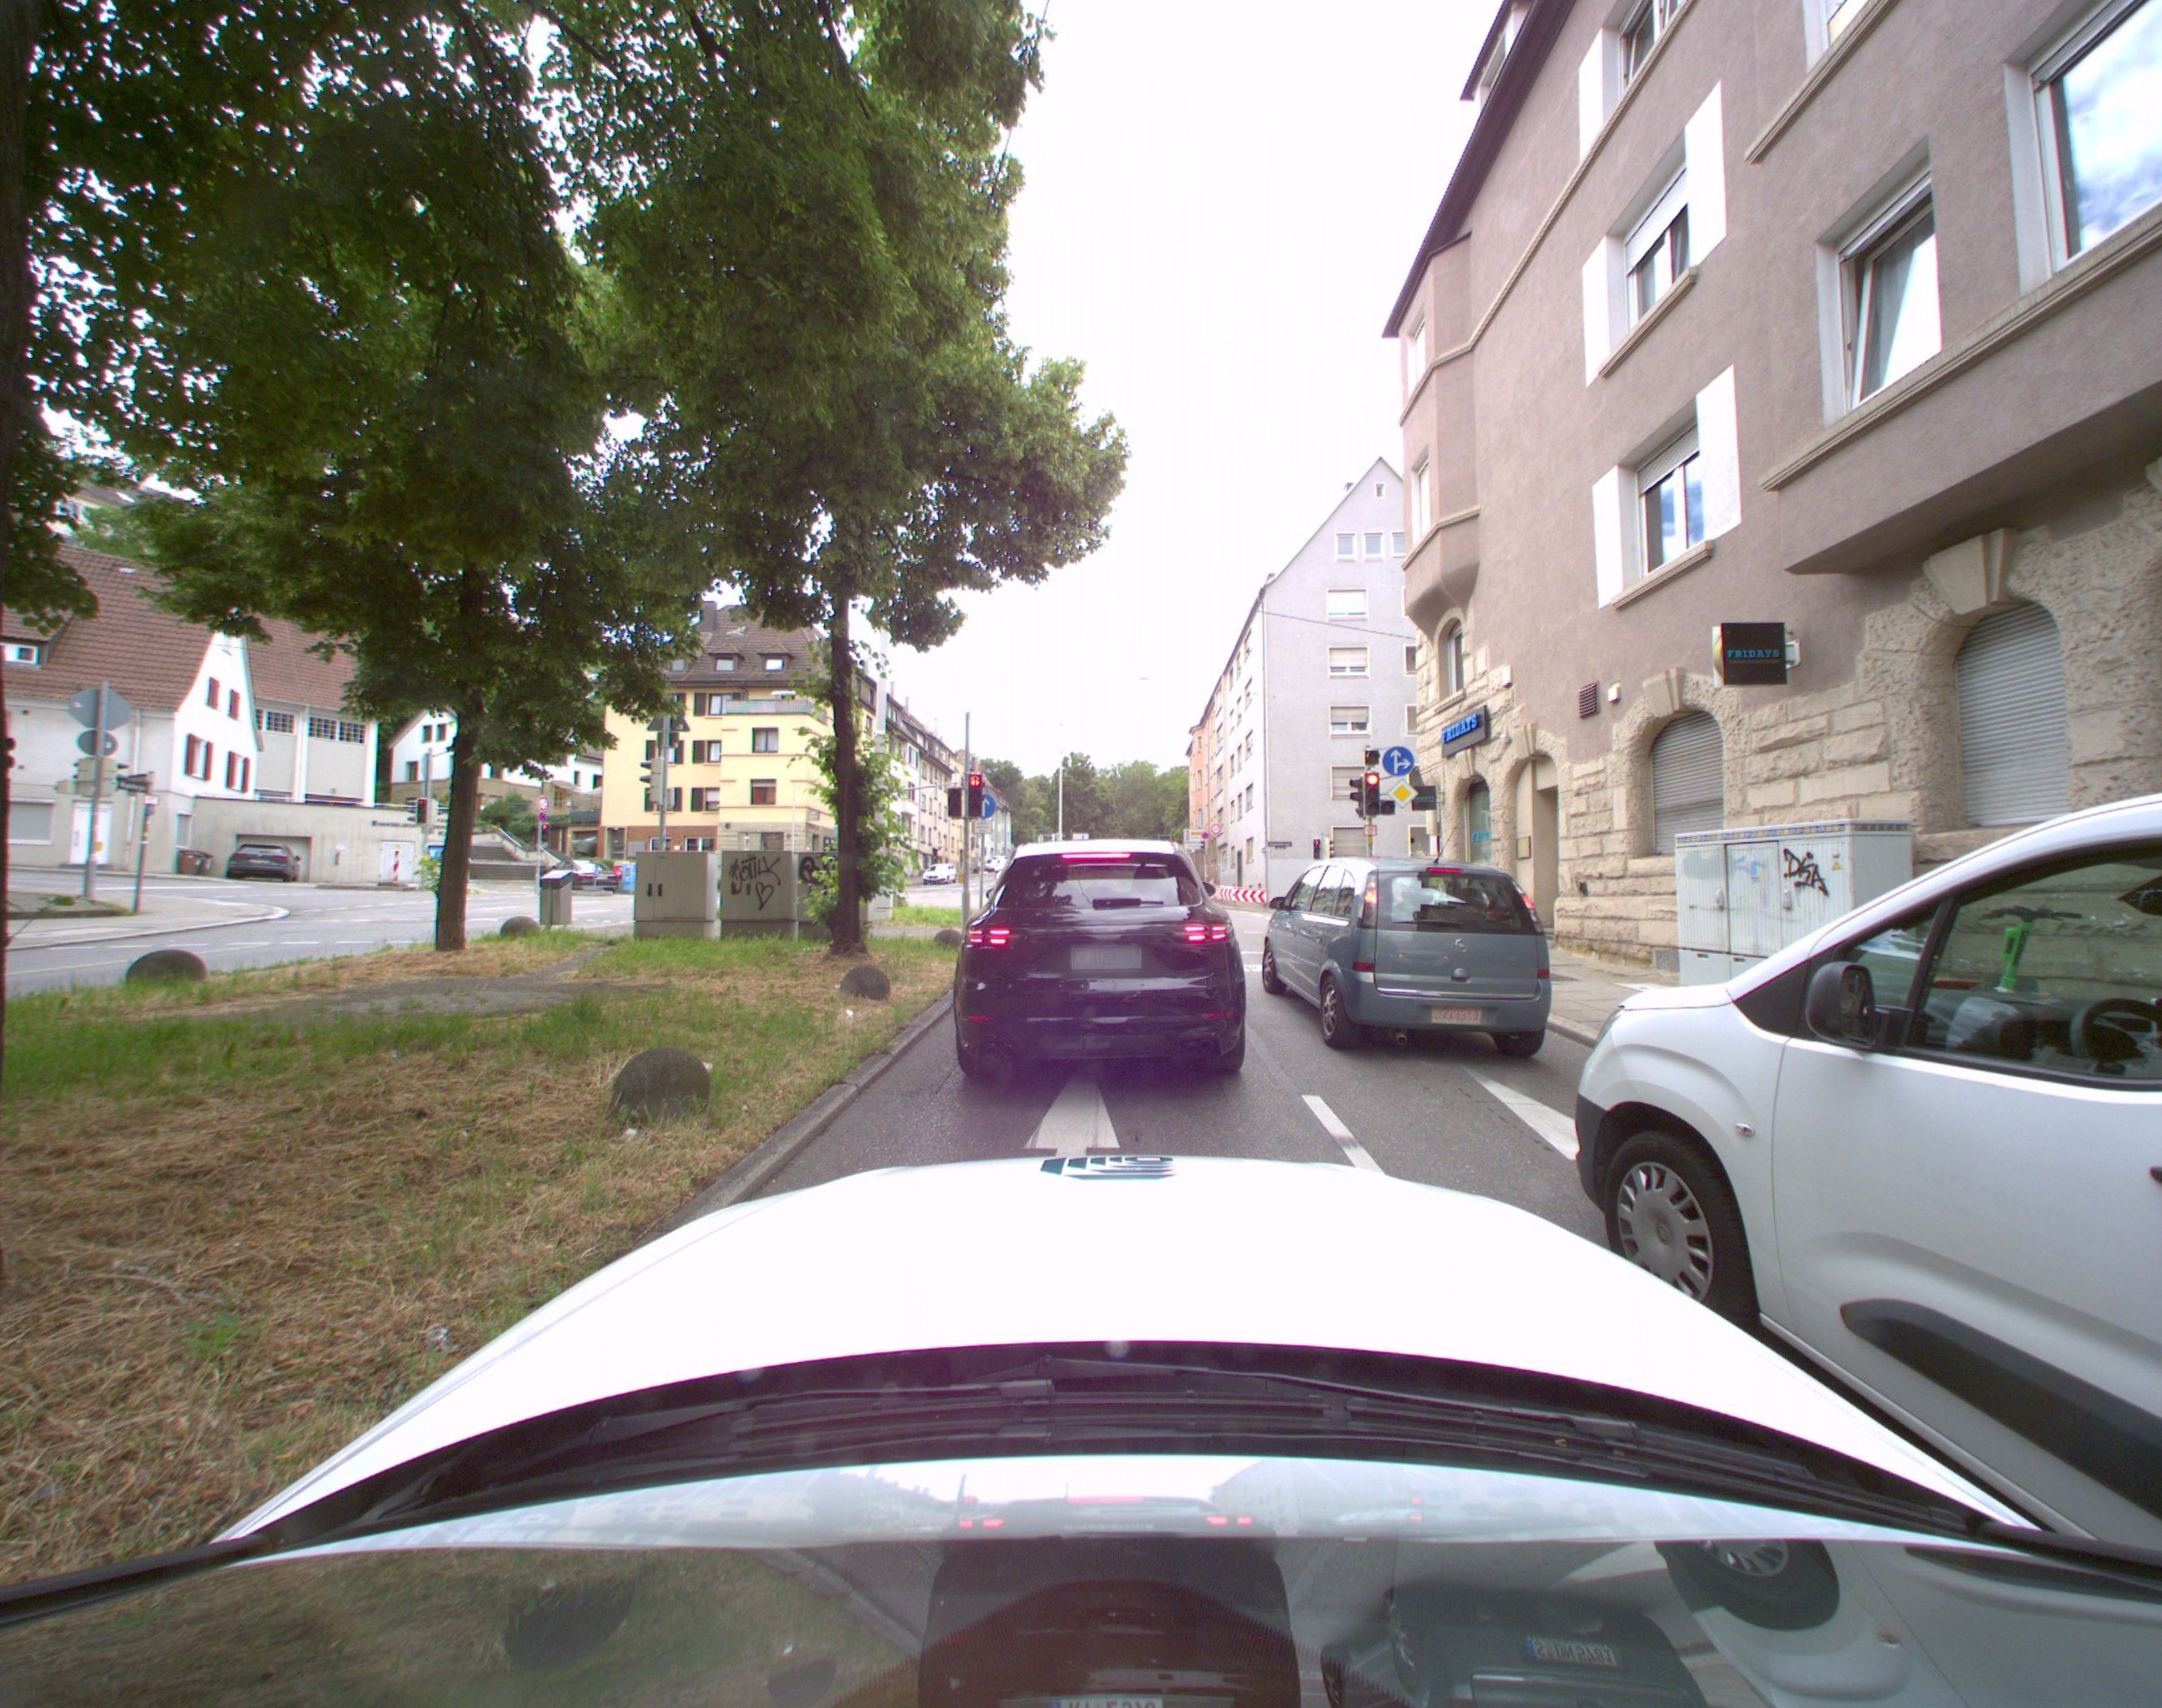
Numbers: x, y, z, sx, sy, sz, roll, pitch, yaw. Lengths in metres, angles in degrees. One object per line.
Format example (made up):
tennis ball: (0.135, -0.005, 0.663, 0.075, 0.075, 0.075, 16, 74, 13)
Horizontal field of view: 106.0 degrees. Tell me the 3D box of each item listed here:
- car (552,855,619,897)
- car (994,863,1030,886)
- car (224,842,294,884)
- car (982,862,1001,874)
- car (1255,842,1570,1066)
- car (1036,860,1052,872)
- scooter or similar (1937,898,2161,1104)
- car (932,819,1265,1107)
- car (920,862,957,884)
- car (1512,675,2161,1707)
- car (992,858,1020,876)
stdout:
car: (-23.620, 1.012, 38.812, 3.477, 1.596, 1.881, 7, 4, 44)
car: (-4.424, 1.292, 52.935, 1.854, 1.388, 4.096, 0, 0, 2)
car: (-32.158, 0.356, 31.839, 3.019, 1.405, 1.681, 2, -4, 42)
car: (-10.918, 1.653, 99.245, 1.732, 1.387, 3.815, 0, -1, 2)
car: (2.868, 0.762, 7.925, 1.622, 1.598, 3.670, 3, 0, 2)
car: (-4.914, 1.609, 107.721, 1.611, 1.480, 3.828, -1, -2, 5)
scooter or similar: (6.460, 0.872, 5.211, 0.524, 1.104, 1.424, -1, -1, 4)
car: (0.162, 0.666, 6.838, 1.948, 1.674, 4.001, -1, -1, 2)
car: (-10.293, 1.349, 59.042, 1.837, 1.486, 3.900, 0, -1, 3)
car: (2.784, 0.628, 1.031, 1.969, 1.775, 4.676, 3, 0, 0)
car: (-6.766, 1.157, 73.950, 1.966, 1.610, 4.560, 0, 0, 2)
